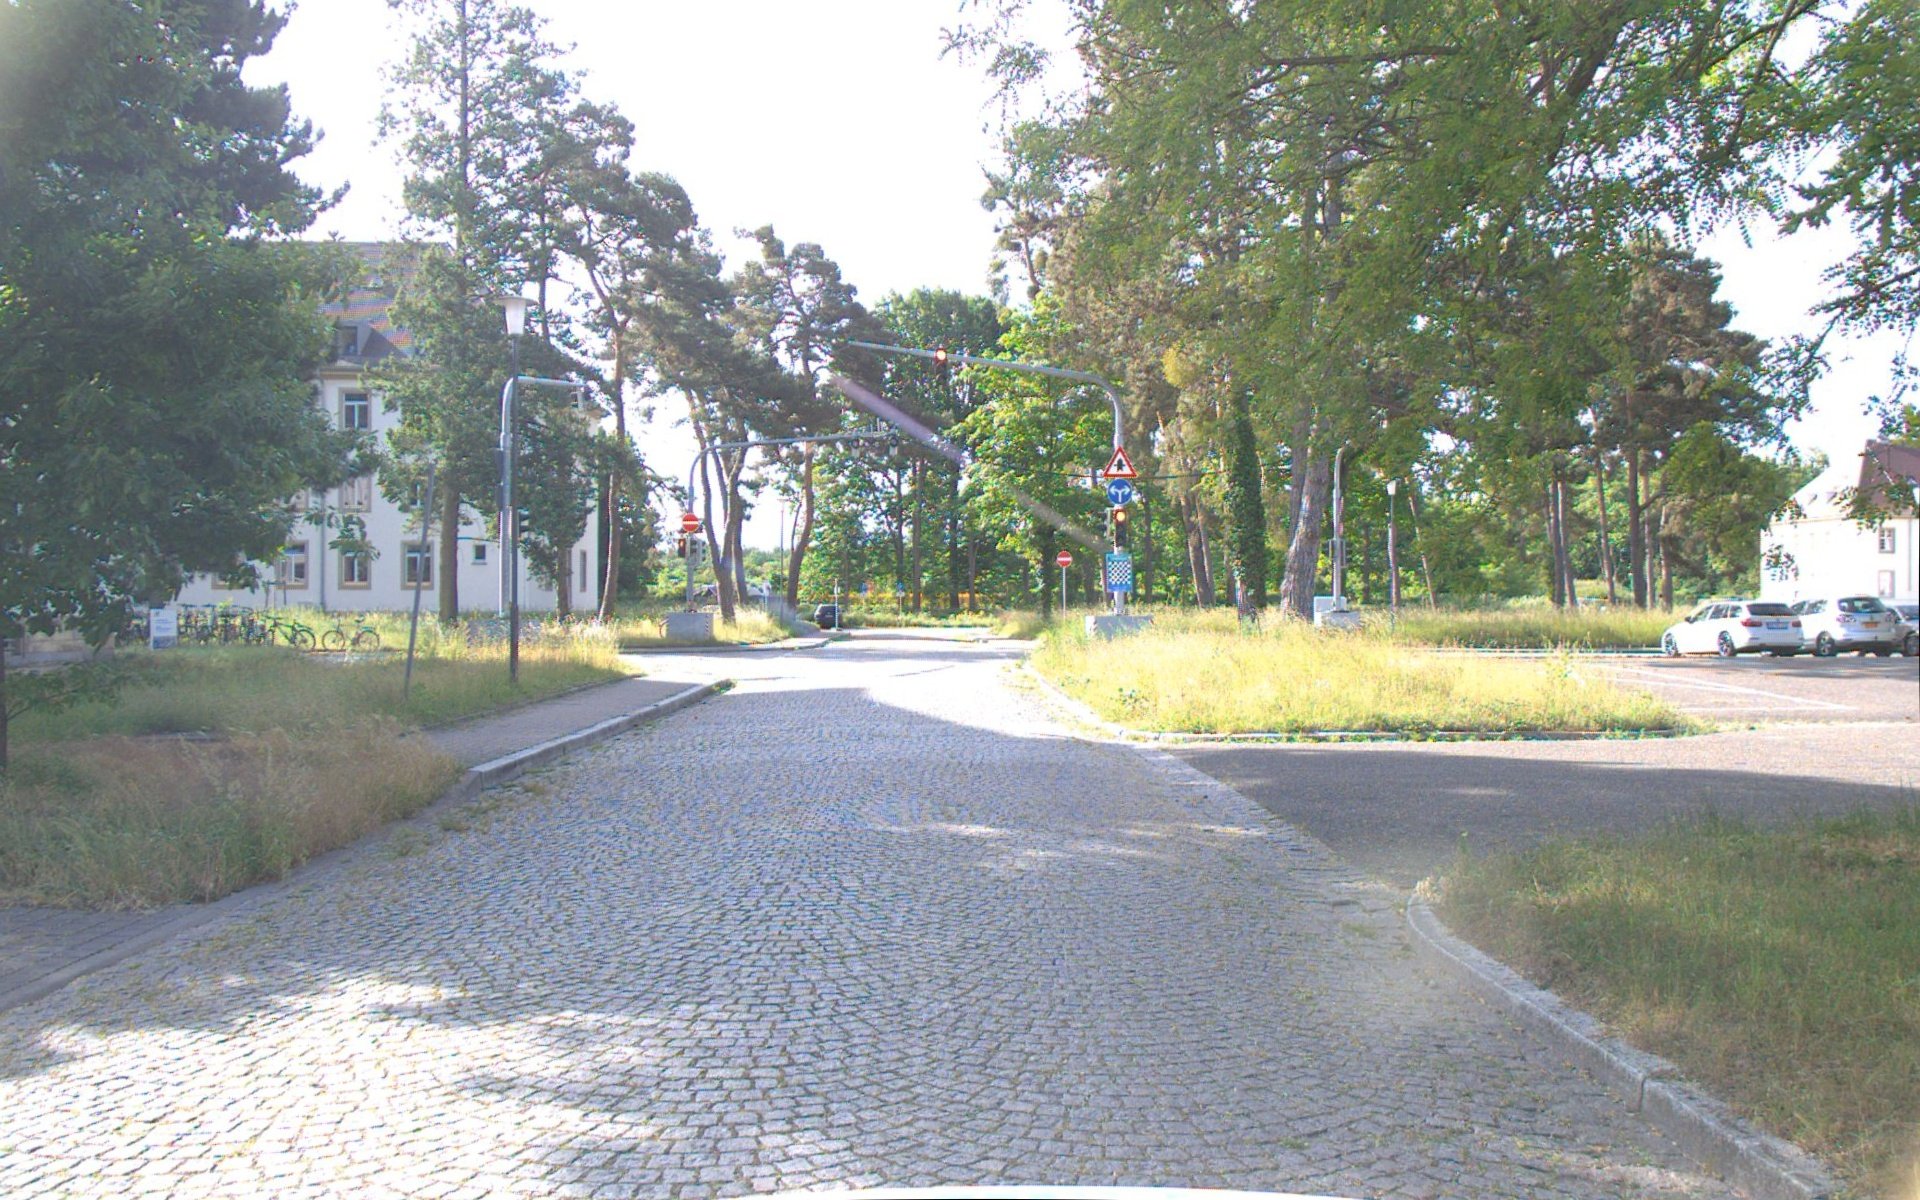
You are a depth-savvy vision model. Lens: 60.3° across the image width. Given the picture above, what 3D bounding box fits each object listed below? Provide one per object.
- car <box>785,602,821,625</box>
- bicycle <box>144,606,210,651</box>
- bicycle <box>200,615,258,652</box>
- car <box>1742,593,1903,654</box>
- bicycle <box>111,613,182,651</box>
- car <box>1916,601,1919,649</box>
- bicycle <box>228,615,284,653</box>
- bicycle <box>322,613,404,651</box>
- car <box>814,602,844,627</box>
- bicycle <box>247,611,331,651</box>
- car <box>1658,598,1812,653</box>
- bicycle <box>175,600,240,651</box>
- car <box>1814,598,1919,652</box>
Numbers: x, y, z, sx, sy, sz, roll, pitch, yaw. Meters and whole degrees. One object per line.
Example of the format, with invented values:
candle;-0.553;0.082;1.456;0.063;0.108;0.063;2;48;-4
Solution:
car;-10.468;0.905;110.485;1.745;1.516;3.757;0;0;5
bicycle;-23.175;0.825;49.008;0.809;1.303;2.553;0;0;-2
bicycle;-21.640;0.976;49.017;0.809;1.065;2.123;0;0;-2
car;22.479;0.588;43.319;1.697;1.502;4.327;0;0;-5
bicycle;-24.059;0.925;48.979;0.882;1.065;2.553;0;0;-2
car;27.713;0.671;44.070;1.697;1.335;4.327;-1;0;-5
bicycle;-20.874;0.993;49.085;0.809;1.065;2.123;0;0;-2
bicycle;-17.333;0.929;48.043;2.076;1.065;0.828;0;0;-5
car;-8.366;0.913;105.792;1.808;1.512;3.997;0;0;-4
bicycle;-19.414;0.887;47.881;2.076;1.128;0.828;0;0;-5
car;20.016;0.624;42.932;1.697;1.335;4.327;0;0;-5
bicycle;-22.425;0.749;49.334;0.809;1.462;2.553;0;0;-2
car;24.721;0.628;43.781;1.697;1.335;4.327;-1;0;-5
